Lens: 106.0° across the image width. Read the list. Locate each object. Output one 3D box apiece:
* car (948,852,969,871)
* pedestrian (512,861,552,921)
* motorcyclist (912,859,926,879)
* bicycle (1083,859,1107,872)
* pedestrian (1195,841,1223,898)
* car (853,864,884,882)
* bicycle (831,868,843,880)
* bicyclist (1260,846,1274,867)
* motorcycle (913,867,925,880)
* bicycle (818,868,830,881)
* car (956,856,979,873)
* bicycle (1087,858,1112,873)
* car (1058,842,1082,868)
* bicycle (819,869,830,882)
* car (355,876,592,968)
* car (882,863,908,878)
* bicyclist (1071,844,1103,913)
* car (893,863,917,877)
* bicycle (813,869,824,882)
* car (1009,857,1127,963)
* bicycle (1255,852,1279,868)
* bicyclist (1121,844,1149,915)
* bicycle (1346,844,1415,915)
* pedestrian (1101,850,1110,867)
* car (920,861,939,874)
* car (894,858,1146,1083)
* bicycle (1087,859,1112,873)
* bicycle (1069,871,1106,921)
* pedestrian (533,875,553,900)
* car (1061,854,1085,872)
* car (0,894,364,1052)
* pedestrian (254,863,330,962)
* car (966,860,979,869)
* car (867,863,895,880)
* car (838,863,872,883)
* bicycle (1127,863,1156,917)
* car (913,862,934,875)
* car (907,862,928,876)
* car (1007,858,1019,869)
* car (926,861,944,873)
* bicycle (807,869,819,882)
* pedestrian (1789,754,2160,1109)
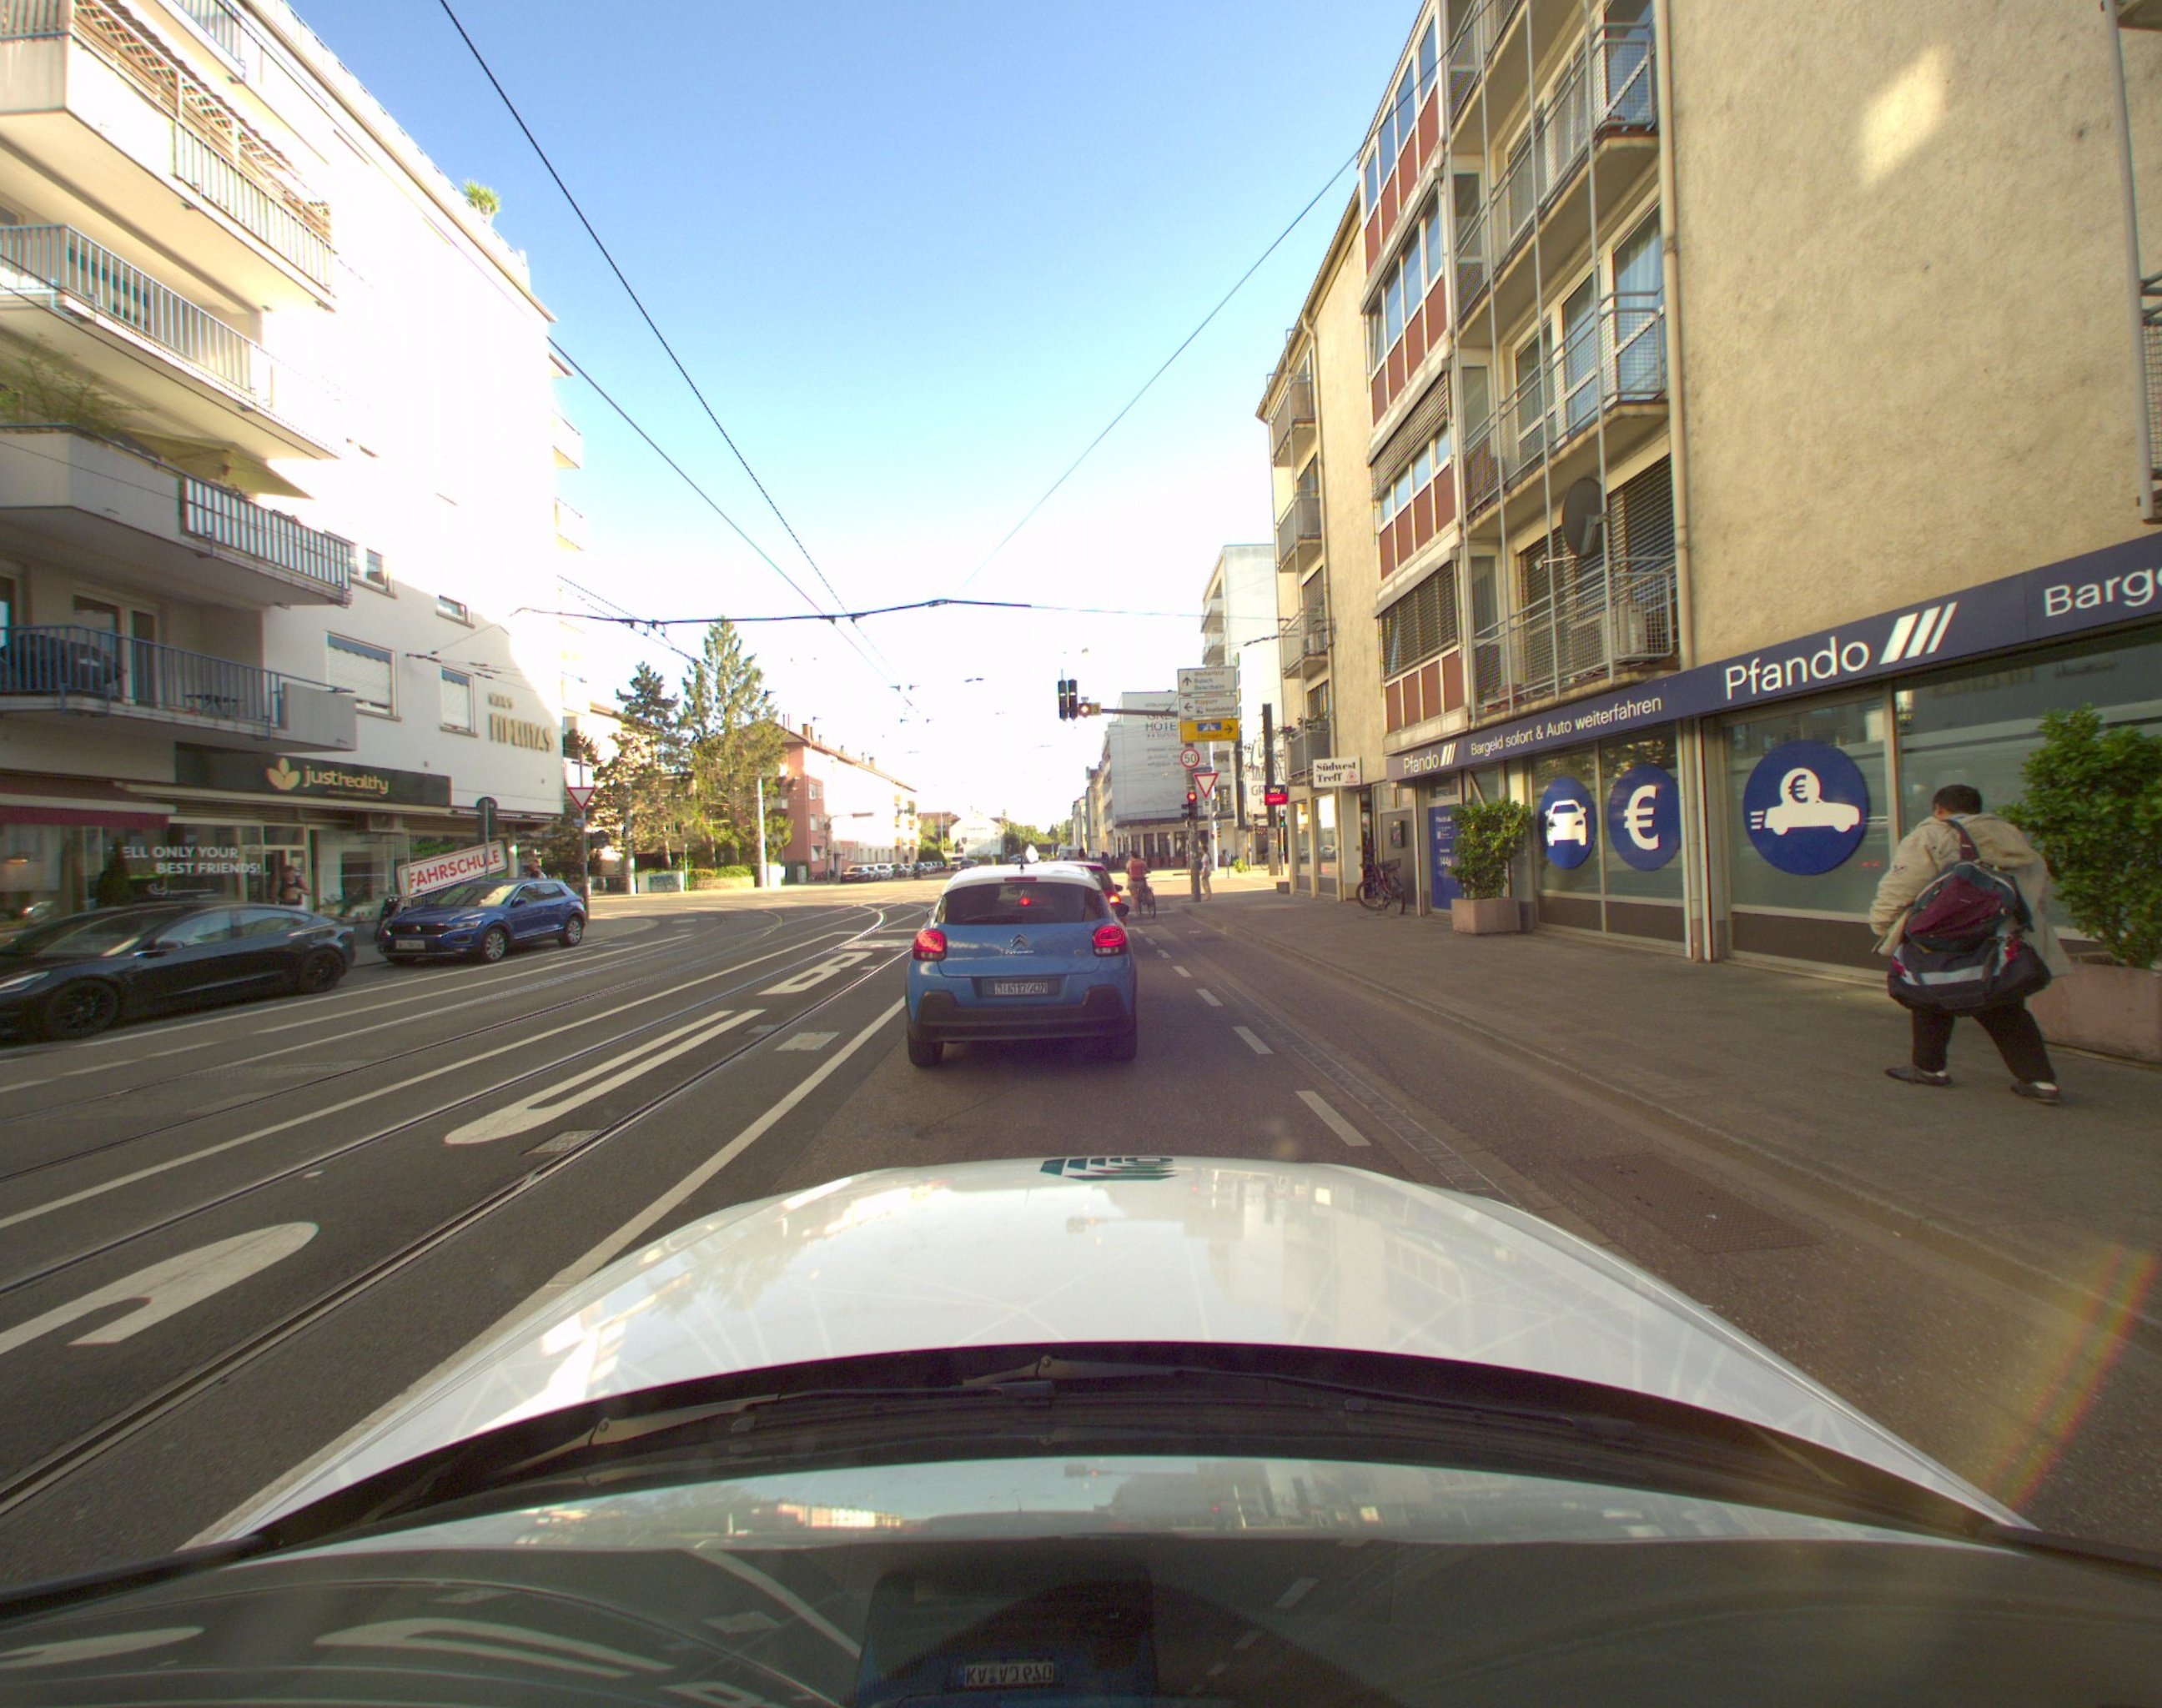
[{"bbox_3d":[-18.126,1.105,120.578,2.489,2.712,5.828,-2,0,-5],"label":"car"},{"bbox_3d":[-17.422,1.173,25.847,0.761,1.834,0.725,-3,0,28],"label":"pedestrian"},{"bbox_3d":[-13.476,1.271,67.695,0.990,1.631,0.737,-2,0,-7],"label":"motorcyclist"},{"bbox_3d":[1.158,0.954,68.445,1.901,1.064,0.641,-2,0,-6],"label":"bicycle"},{"bbox_3d":[3.827,0.455,24.351,0.747,1.635,0.742,-2,0,7],"label":"pedestrian"},{"bbox_3d":[-19.572,1.719,75.245,1.947,1.519,4.040,-2,0,-4],"label":"car"},{"bbox_3d":[-22.718,1.862,75.805,0.608,1.082,1.908,-2,0,-4],"label":"bicycle"},{"bbox_3d":[13.182,0.159,57.821,0.720,1.434,0.609,-3,0,39],"label":"bicyclist"},{"bbox_3d":[-13.485,1.598,67.762,0.751,0.976,2.092,-2,0,-7],"label":"motorcycle"},{"bbox_3d":[-23.051,1.844,73.108,0.536,1.082,1.908,-2,0,-4],"label":"bicycle"},{"bbox_3d":[-11.436,1.053,82.329,2.002,1.627,5.044,-2,0,-5],"label":"car"},{"bbox_3d":[1.515,0.931,65.937,1.901,1.064,0.641,-2,0,-6],"label":"bicycle"},{"bbox_3d":[-1.040,0.087,73.449,2.074,2.269,5.647,-1,0,-2],"label":"car"},{"bbox_3d":[-21.597,1.795,68.474,0.537,1.082,1.905,-2,0,-9],"label":"bicycle"},{"bbox_3d":[-11.882,1.245,16.327,1.720,1.505,4.113,0,0,-2],"label":"car"},{"bbox_3d":[-19.730,1.741,86.530,1.947,1.519,3.995,-2,0,-4],"label":"car"},{"bbox_3d":[0.137,0.588,19.872,0.616,1.630,0.758,-2,0,-8],"label":"bicyclist"},{"bbox_3d":[-19.982,1.791,92.598,1.947,1.519,3.995,-2,0,-4],"label":"car"},{"bbox_3d":[-21.976,1.795,68.189,0.537,1.082,1.905,-2,0,-9],"label":"bicycle"},{"bbox_3d":[-0.230,0.811,13.709,1.675,1.462,3.997,-1,0,-2],"label":"car"},{"bbox_3d":[13.188,0.432,57.834,1.474,1.091,0.609,-3,0,39],"label":"bicycle"},{"bbox_3d":[1.365,0.633,20.694,0.598,1.746,1.084,-2,0,2],"label":"bicyclist"},{"bbox_3d":[5.755,0.457,15.740,0.637,1.264,1.911,-2,0,2],"label":"bicycle"},{"bbox_3d":[2.102,0.397,70.380,0.520,1.420,0.550,-3,0,22],"label":"pedestrian"},{"bbox_3d":[-20.298,1.774,109.330,1.947,1.519,3.995,-2,0,-4],"label":"car"},{"bbox_3d":[-0.456,0.791,7.500,1.675,1.462,3.997,-1,0,-2],"label":"car"},{"bbox_3d":[1.524,0.962,67.243,1.901,1.064,0.641,-2,0,-6],"label":"bicycle"},{"bbox_3d":[0.146,0.994,19.978,0.616,1.103,1.881,-2,0,-7],"label":"bicycle"},{"bbox_3d":[-36.970,2.306,55.960,0.805,1.702,0.681,-2,0,1],"label":"pedestrian"},{"bbox_3d":[-0.717,0.743,67.987,1.783,1.359,3.909,-2,0,-4],"label":"car"},{"bbox_3d":[-11.987,1.331,10.424,1.720,1.403,4.486,0,0,-2],"label":"car"},{"bbox_3d":[-15.472,1.131,15.990,0.749,1.857,0.671,-2,0,-4],"label":"pedestrian"},{"bbox_3d":[-19.336,1.818,145.246,1.947,1.519,3.995,-2,0,-4],"label":"car"},{"bbox_3d":[-19.561,1.686,79.857,1.947,1.519,3.995,-2,0,-4],"label":"car"},{"bbox_3d":[-19.292,1.602,69.622,1.947,1.519,3.995,-2,0,-4],"label":"car"},{"bbox_3d":[1.529,0.888,20.728,0.611,1.264,1.911,-2,0,2],"label":"bicycle"},{"bbox_3d":[-20.097,1.802,104.041,1.947,1.519,3.995,-2,0,-4],"label":"car"},{"bbox_3d":[-19.852,1.787,99.027,1.947,1.519,3.995,-2,0,-4],"label":"car"},{"bbox_3d":[-14.263,1.981,171.413,2.333,2.039,5.044,-2,0,-4],"label":"car"},{"bbox_3d":[-20.725,1.853,115.686,1.947,1.519,3.995,-2,0,-4],"label":"car"},{"bbox_3d":[-22.382,1.795,68.080,0.640,1.082,1.905,-2,0,-9],"label":"bicycle"},{"bbox_3d":[4.492,0.351,4.181,0.871,1.571,0.868,-4,0,-1],"label":"pedestrian"}]
